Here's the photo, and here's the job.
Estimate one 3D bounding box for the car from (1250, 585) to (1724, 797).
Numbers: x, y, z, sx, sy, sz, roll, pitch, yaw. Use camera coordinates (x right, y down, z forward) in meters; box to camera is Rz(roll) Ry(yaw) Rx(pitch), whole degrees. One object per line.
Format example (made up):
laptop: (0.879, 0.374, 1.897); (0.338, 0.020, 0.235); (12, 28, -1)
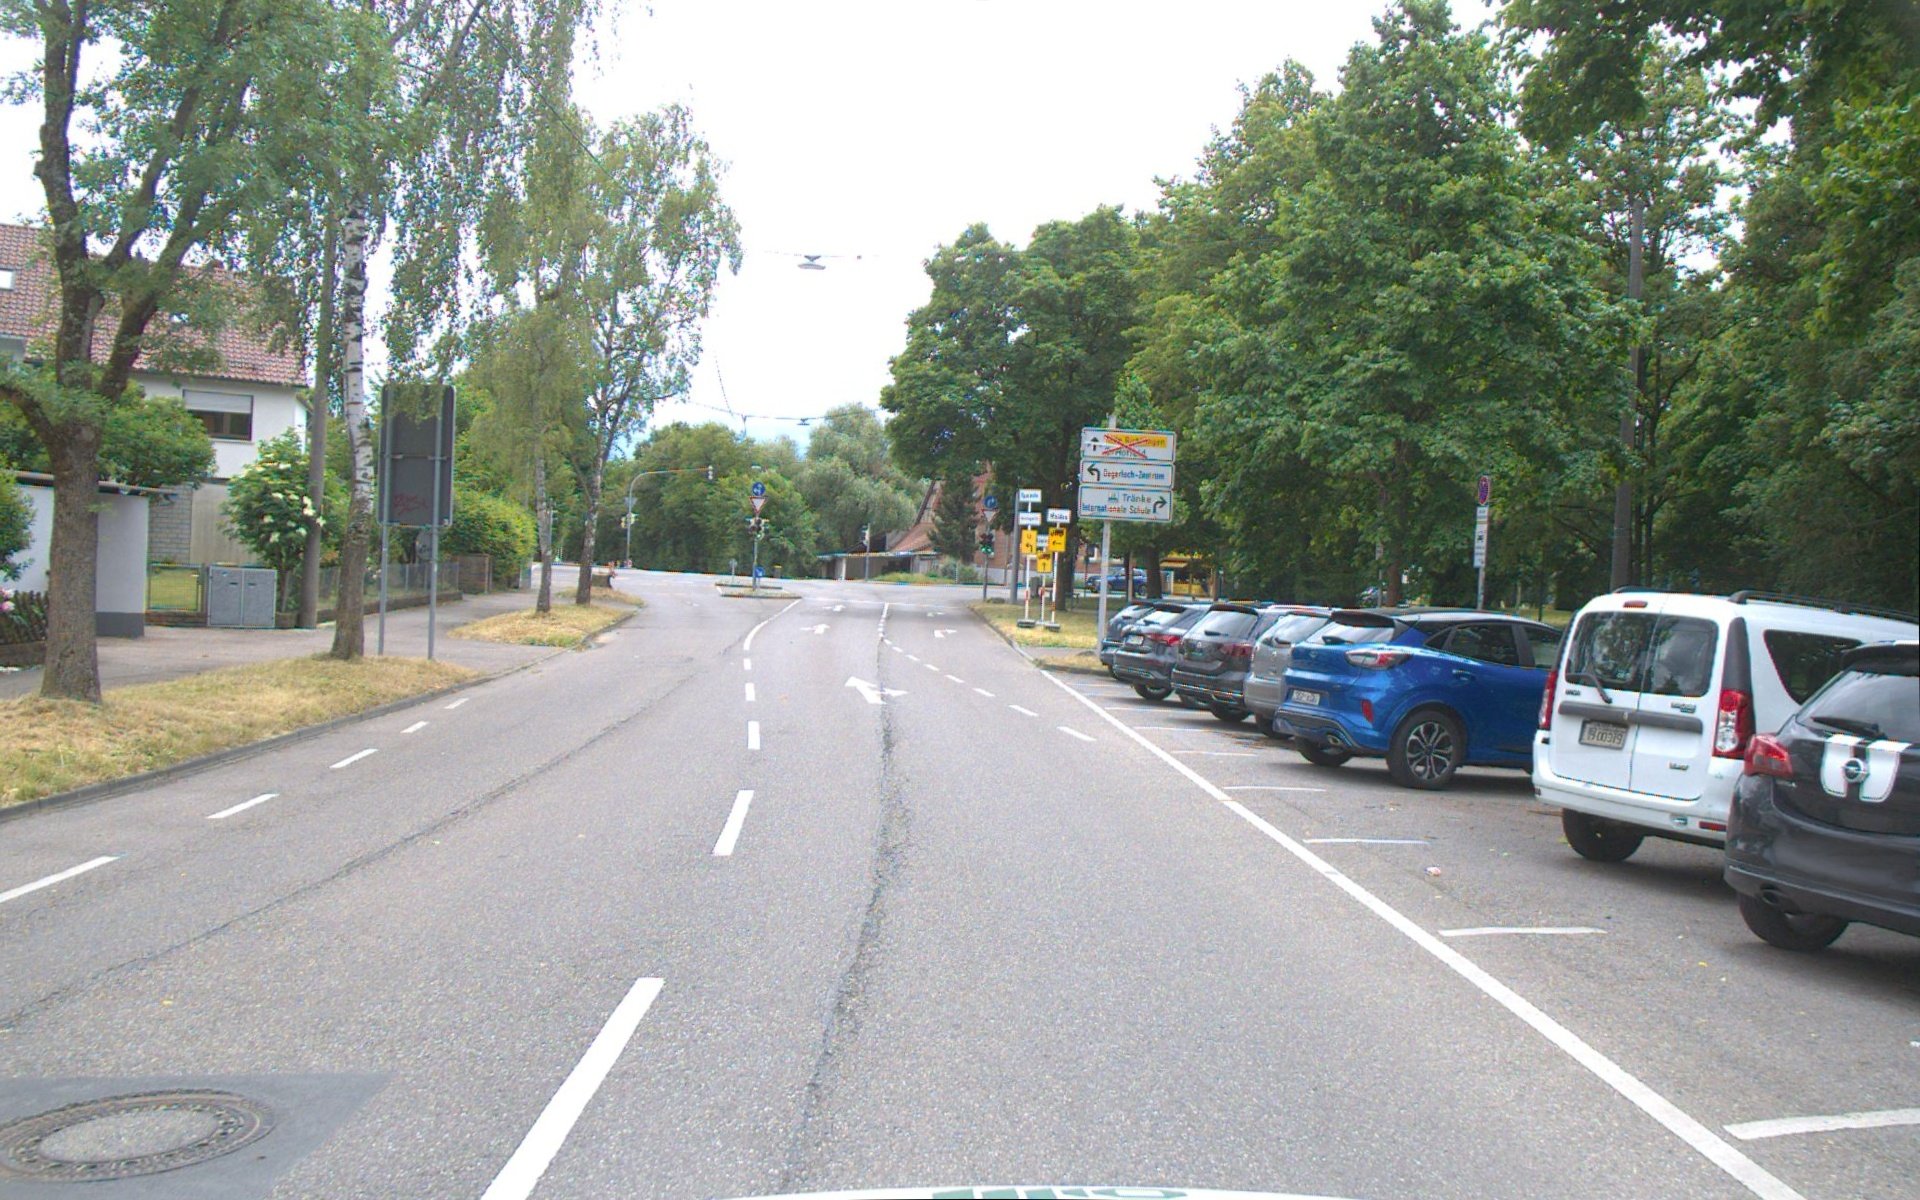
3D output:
car: (4.753, 0.815, 14.971); (3.764, 1.555, 1.736); (5, -1, -21)

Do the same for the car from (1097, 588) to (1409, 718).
car: (4.055, 0.733, 22.973); (3.818, 1.450, 1.819); (5, -1, -21)

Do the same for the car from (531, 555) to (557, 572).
car: (-37.693, -3.309, 149.853); (1.769, 1.434, 3.975); (2, 1, -21)

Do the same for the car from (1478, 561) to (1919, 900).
car: (5.395, 0.802, 10.222); (3.764, 1.749, 1.867); (5, -1, -21)

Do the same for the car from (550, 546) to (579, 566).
car: (-32.945, -3.680, 137.710); (1.769, 1.538, 3.975); (2, 1, -21)

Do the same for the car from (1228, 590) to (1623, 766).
car: (5.028, 0.835, 17.905); (3.764, 1.555, 1.736); (5, -1, -21)

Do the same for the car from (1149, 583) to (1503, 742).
car: (4.387, 0.741, 19.883); (3.764, 1.555, 1.736); (5, -1, -21)

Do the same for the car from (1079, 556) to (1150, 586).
car: (9.394, -1.781, 100.751); (3.792, 1.676, 1.987); (2, 1, -23)

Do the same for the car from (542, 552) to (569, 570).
car: (-34.813, -3.394, 142.250); (1.769, 1.434, 3.975); (2, 1, -21)

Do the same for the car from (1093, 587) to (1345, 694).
car: (4.348, 0.681, 27.826); (3.764, 1.450, 1.736); (5, -1, -21)

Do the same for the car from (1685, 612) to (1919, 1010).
car: (5.441, 0.995, 7.469); (3.764, 1.493, 1.736); (5, 1, -21)
